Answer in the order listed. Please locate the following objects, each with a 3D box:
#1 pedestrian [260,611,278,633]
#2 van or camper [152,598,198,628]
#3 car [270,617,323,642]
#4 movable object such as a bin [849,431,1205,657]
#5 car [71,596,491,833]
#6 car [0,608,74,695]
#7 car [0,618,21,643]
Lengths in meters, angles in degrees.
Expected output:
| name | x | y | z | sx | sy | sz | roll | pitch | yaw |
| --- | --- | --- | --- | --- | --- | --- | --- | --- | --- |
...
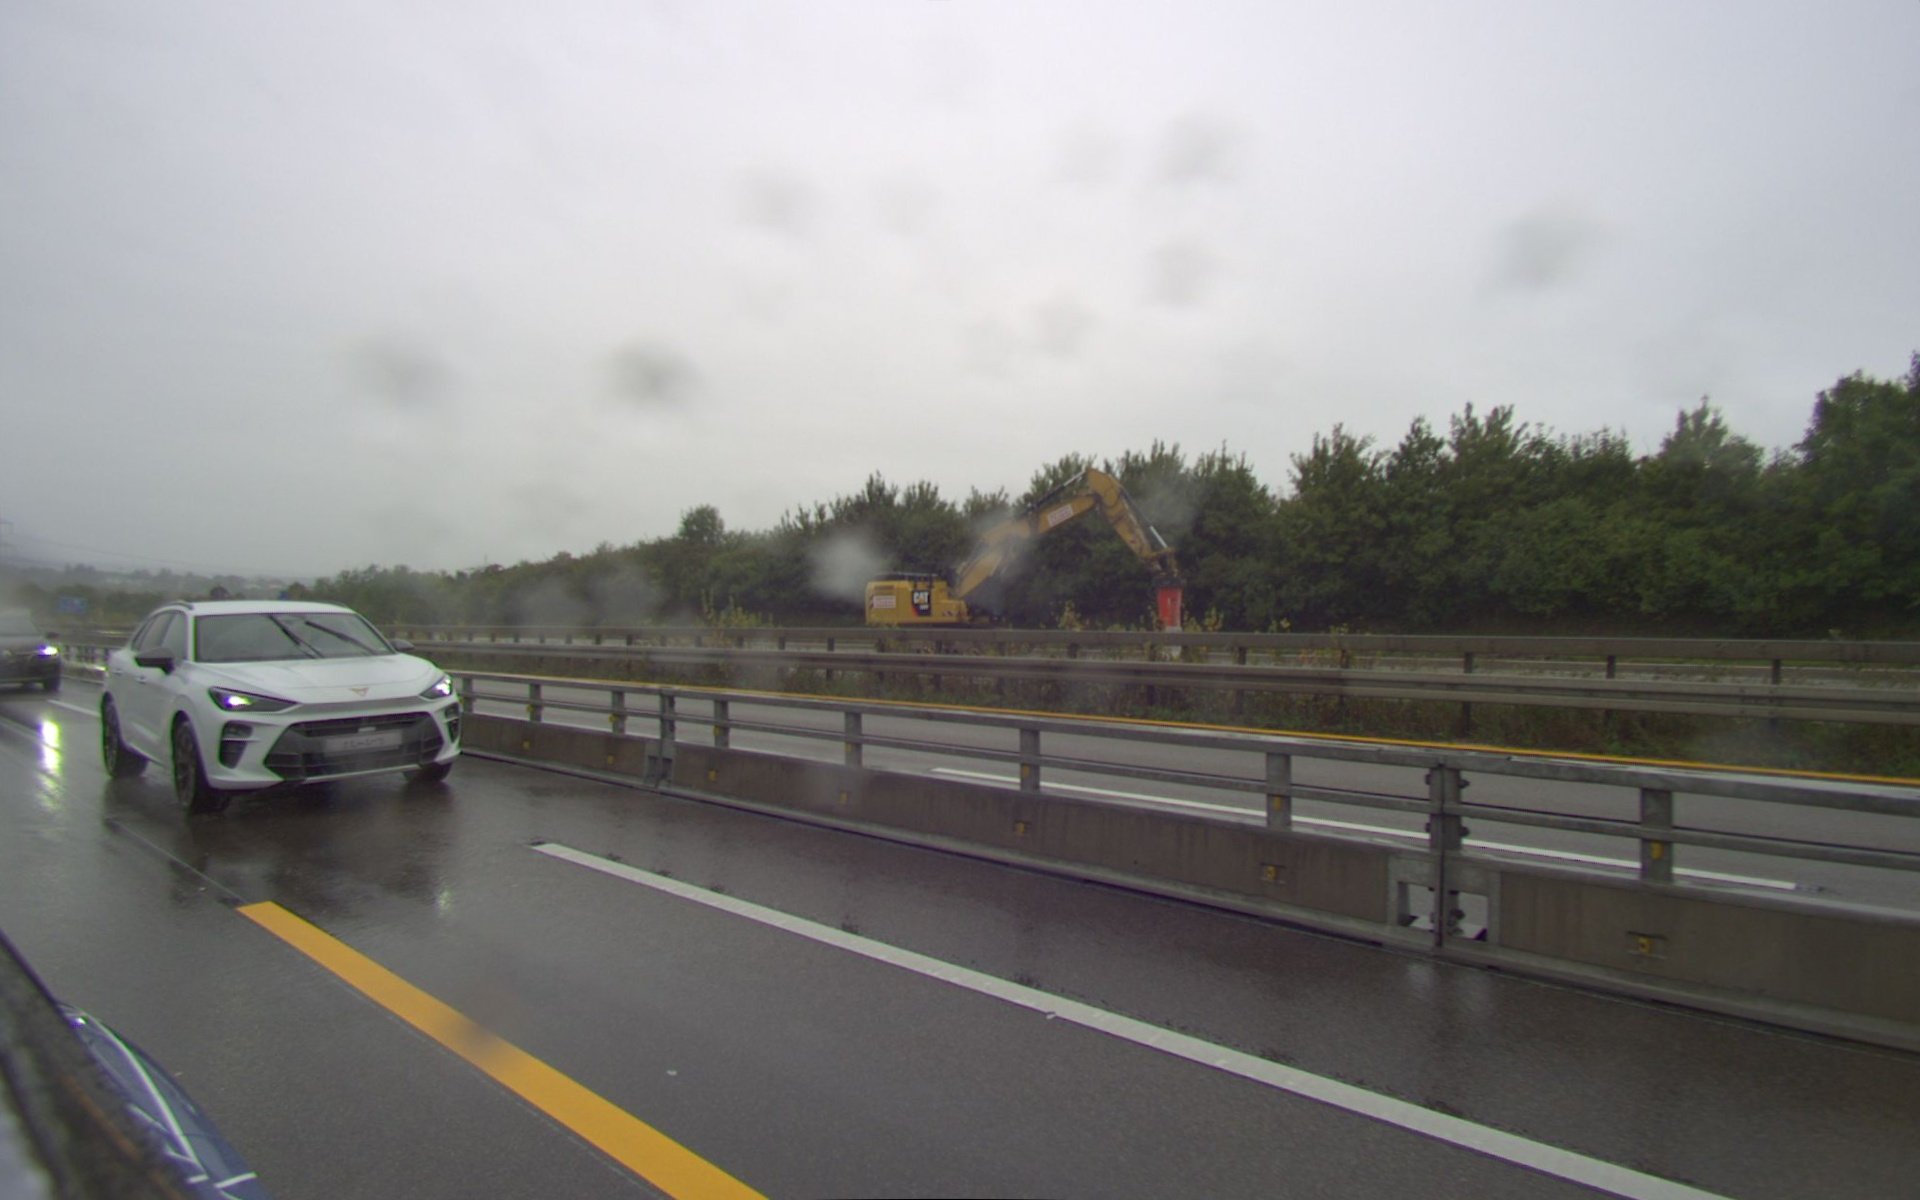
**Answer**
| name | x | y | z | sx | sy | sz | roll | pitch | yaw |
| --- | --- | --- | --- | --- | --- | --- | --- | --- | --- |
| pedestrian | -65.986 | 2.090 | 96.688 | 1.124 | 2.029 | 1.095 | -1 | 0 | 35 |
| van or camper | -117.904 | 1.986 | 151.952 | 8.491 | 4.356 | 3.336 | -1 | 1 | 37 |
| car | -54.636 | 2.396 | 83.275 | 5.357 | 1.981 | 2.074 | -1 | -1 | 38 |
| movable object such as a bin | 1.718 | -1.470 | 31.908 | 11.045 | 5.959 | 4.126 | -1 | 1 | 43 |
| car | -6.262 | 0.787 | 9.048 | 5.004 | 1.562 | 1.907 | -1 | -1 | 41 |
| car | -19.990 | 1.003 | 20.819 | 5.193 | 1.640 | 2.042 | -1 | -1 | 42 |
| car | -61.259 | 1.931 | 64.203 | 4.293 | 1.517 | 1.973 | -1 | 0 | 40 |
